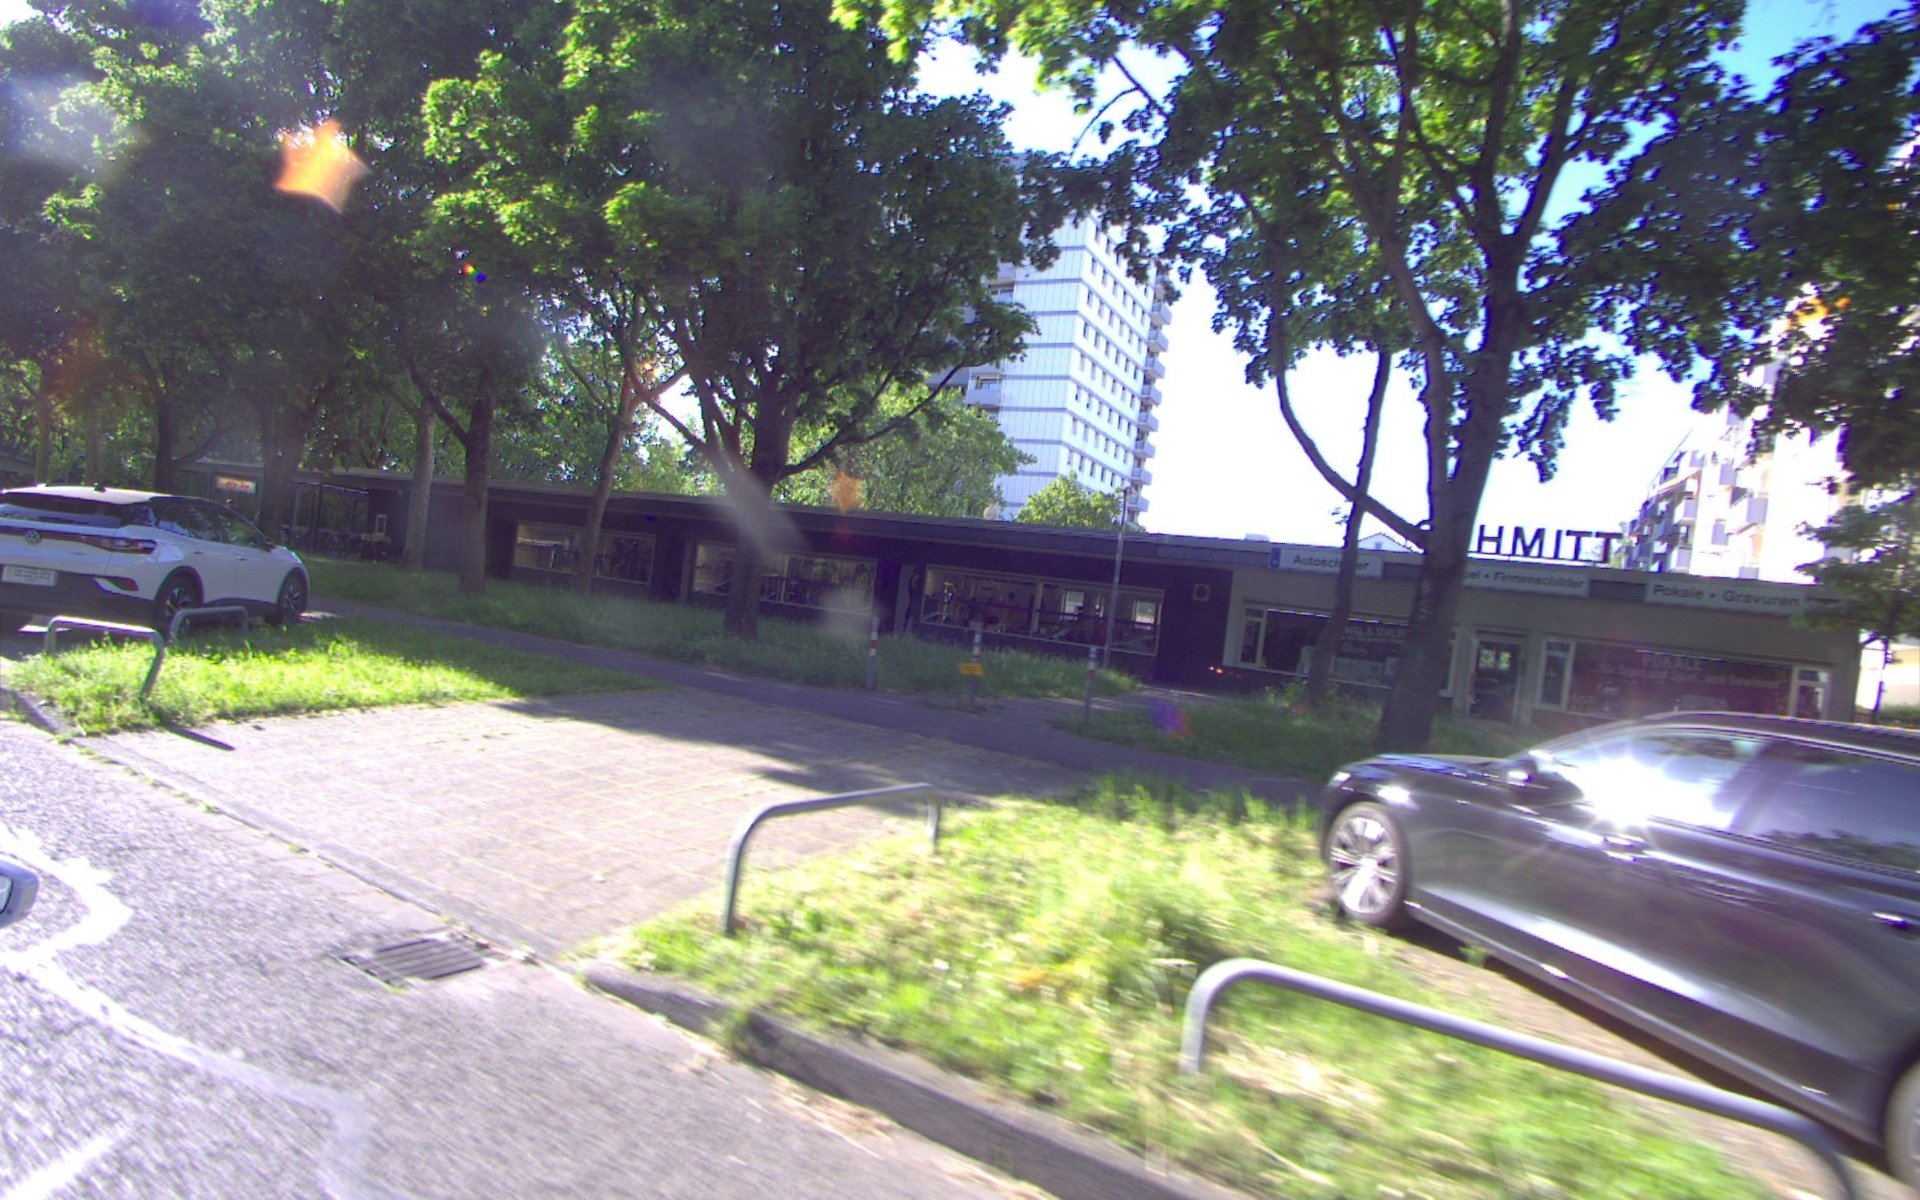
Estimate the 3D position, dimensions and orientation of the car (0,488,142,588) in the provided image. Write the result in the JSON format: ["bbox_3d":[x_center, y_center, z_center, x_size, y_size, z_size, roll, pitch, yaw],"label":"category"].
[{"bbox_3d":[-15.821,-1.075,16.342,1.826,1.540,4.615,7,0,-11],"label":"car"}]

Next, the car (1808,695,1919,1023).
[{"bbox_3d":[6.115,1.458,3.470,1.826,1.589,4.614,7,0,-12],"label":"car"}]

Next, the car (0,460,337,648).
[{"bbox_3d":[-9.626,-0.474,12.190,1.826,1.700,4.617,8,-1,-11],"label":"car"}]

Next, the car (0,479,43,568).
[{"bbox_3d":[-19.206,-1.542,18.284,1.828,1.701,4.594,5,0,-16],"label":"car"}]

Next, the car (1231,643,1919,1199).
[{"bbox_3d":[3.223,1.163,4.106,1.948,1.477,4.611,7,0,-14],"label":"car"}]

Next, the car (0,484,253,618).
[{"bbox_3d":[-12.706,-0.684,14.825,1.826,1.588,4.617,8,-2,-11],"label":"car"}]
